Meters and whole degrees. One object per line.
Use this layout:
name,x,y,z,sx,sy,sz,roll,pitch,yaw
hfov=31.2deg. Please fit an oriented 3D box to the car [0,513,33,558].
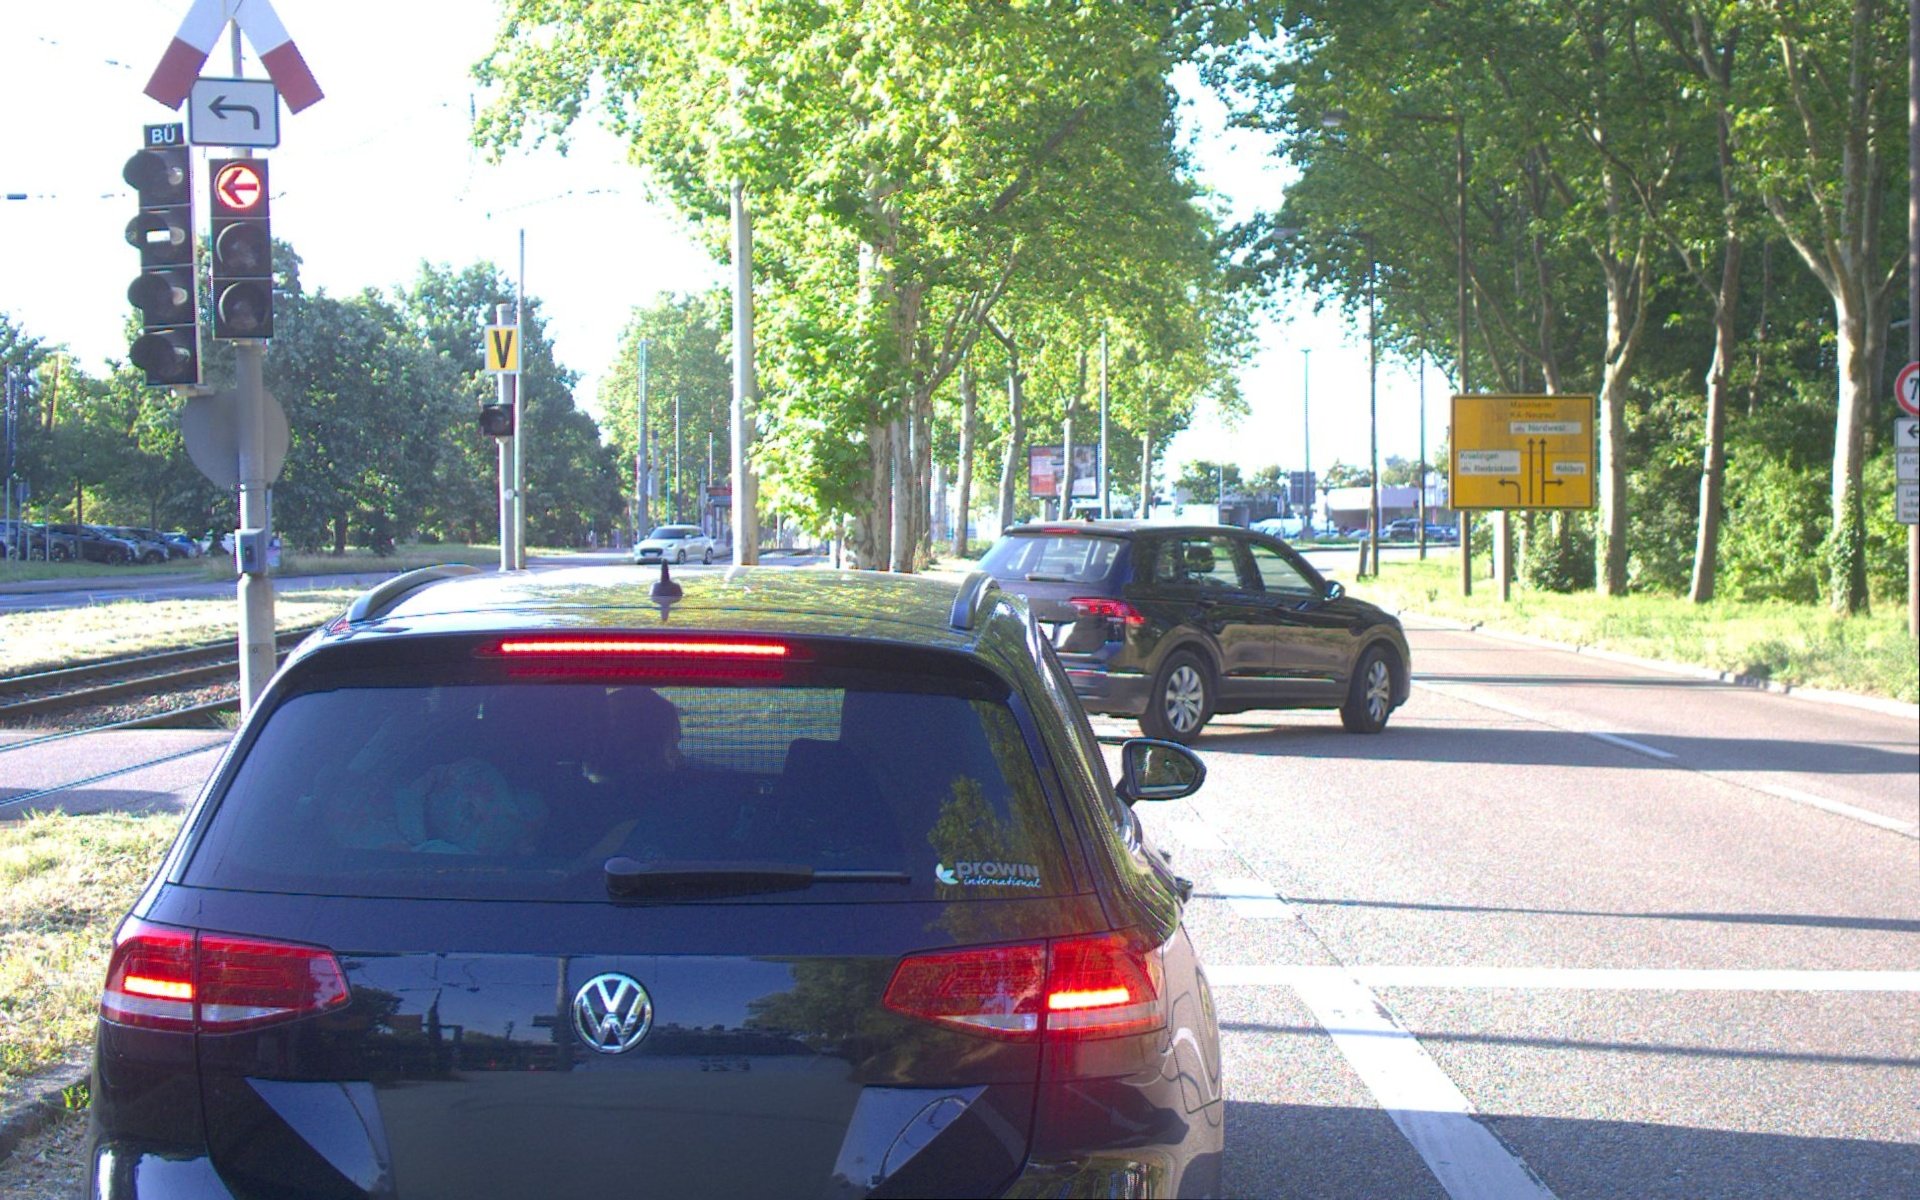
car,-35.918,-2.369,124.997,3.986,1.615,1.744,1,1,-5

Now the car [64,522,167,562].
car,-35.826,-2.461,145.902,3.986,1.615,1.744,1,1,-5

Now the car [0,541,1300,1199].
car,-0.482,0.633,6.406,1.795,1.459,3.583,1,1,-1

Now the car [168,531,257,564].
car,-36.511,-2.551,167.978,3.986,1.550,1.744,1,1,-4

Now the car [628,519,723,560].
car,-10.426,-2.230,126.353,1.864,1.476,4.087,1,1,21

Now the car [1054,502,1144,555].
car,6.763,-3.453,166.257,2.098,2.453,5.844,2,2,27

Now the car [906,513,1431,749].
car,1.674,0.163,26.076,1.876,1.629,4.361,1,2,37
